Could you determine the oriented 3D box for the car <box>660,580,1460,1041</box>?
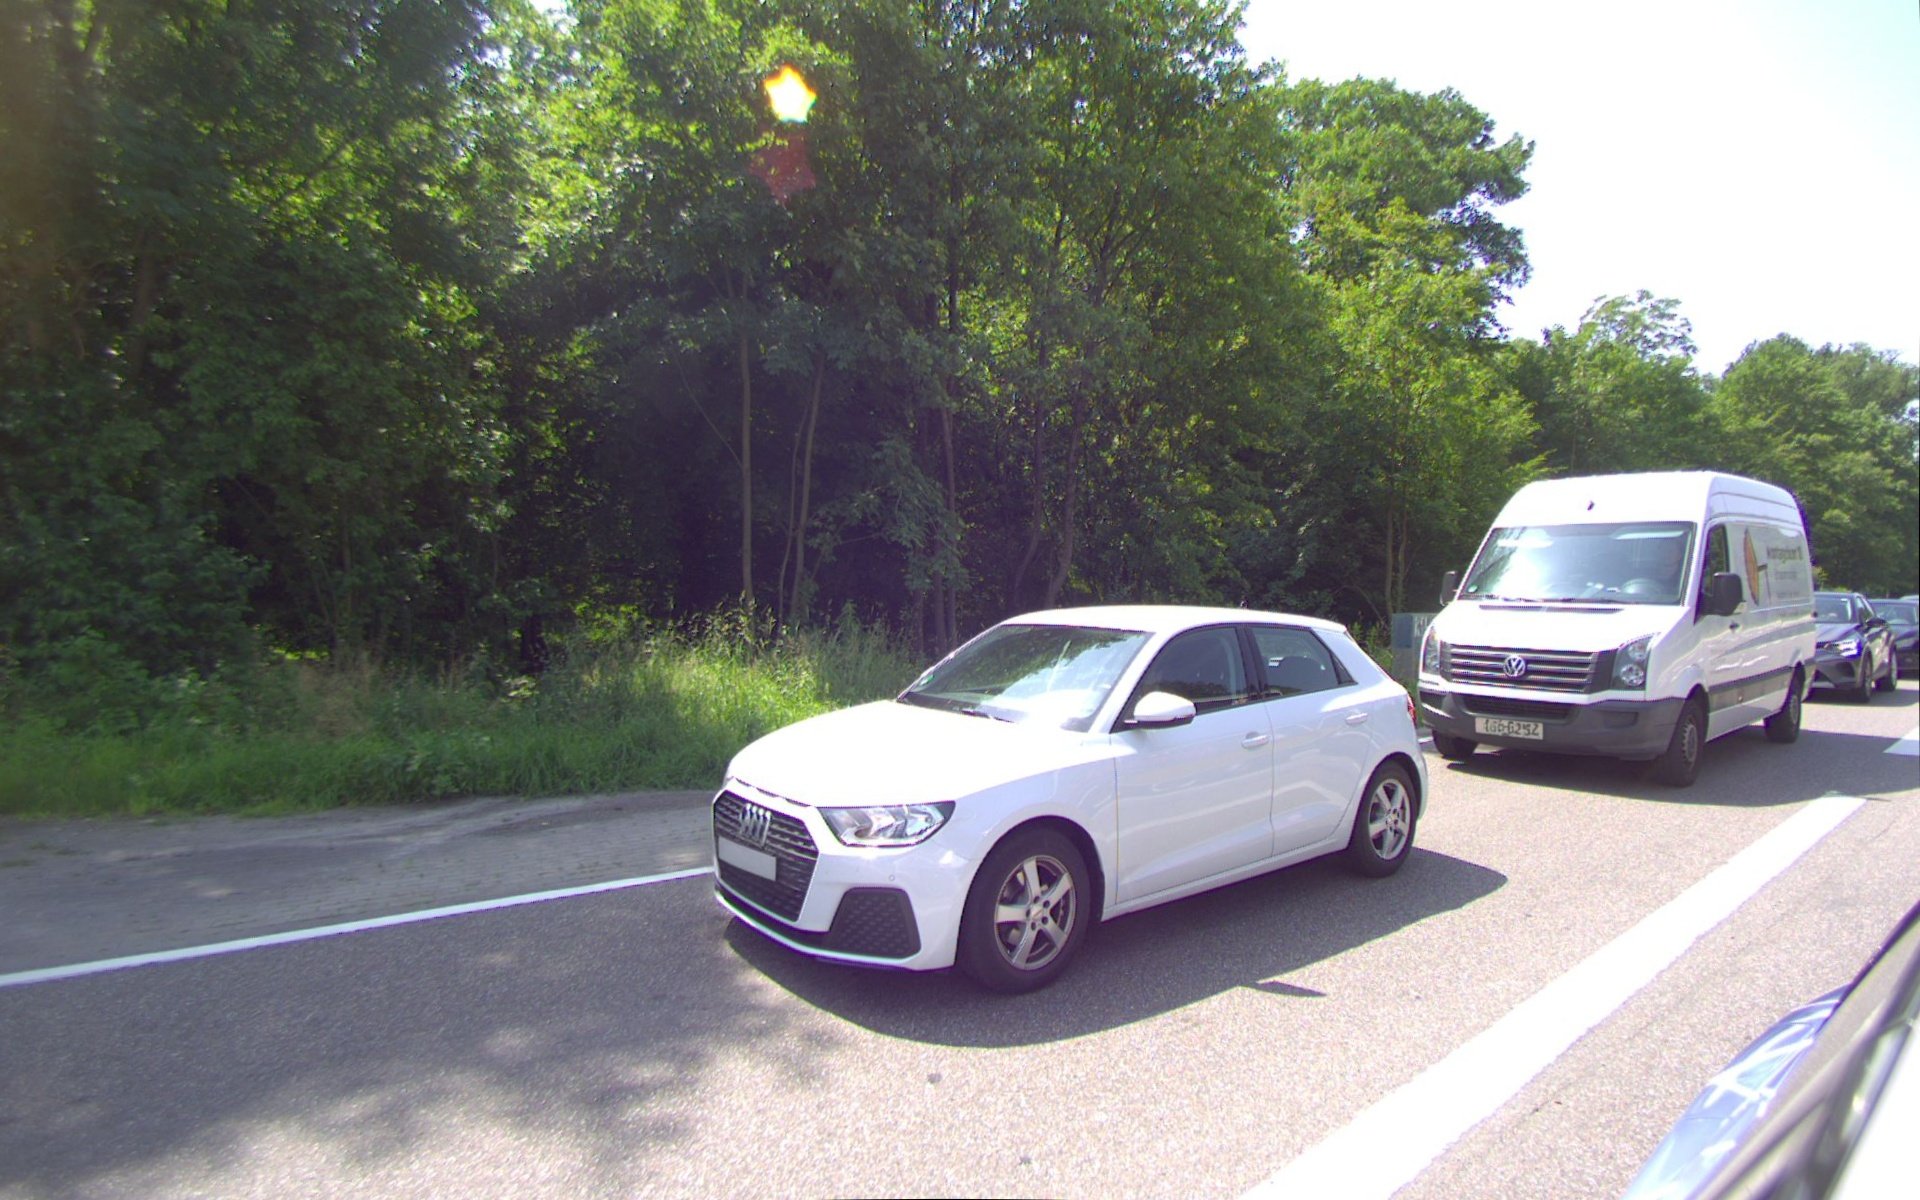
[{"bbox_3d":[0.711,0.660,5.092,3.927,1.454,1.694,0,-1,-38],"label":"car"}]

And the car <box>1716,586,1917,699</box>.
[{"bbox_3d":[13.060,0.535,15.339,4.156,1.479,1.794,-1,0,-42],"label":"car"}]

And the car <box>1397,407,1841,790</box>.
[{"bbox_3d":[6.610,-0.027,9.766,5.952,2.678,1.973,0,0,-40],"label":"car"}]

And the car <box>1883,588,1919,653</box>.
[{"bbox_3d":[23.258,0.458,23.866,4.156,1.457,1.794,-1,2,-42],"label":"car"}]

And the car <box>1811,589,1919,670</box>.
[{"bbox_3d":[17.854,0.498,19.411,4.156,1.372,1.794,-1,2,-42],"label":"car"}]
